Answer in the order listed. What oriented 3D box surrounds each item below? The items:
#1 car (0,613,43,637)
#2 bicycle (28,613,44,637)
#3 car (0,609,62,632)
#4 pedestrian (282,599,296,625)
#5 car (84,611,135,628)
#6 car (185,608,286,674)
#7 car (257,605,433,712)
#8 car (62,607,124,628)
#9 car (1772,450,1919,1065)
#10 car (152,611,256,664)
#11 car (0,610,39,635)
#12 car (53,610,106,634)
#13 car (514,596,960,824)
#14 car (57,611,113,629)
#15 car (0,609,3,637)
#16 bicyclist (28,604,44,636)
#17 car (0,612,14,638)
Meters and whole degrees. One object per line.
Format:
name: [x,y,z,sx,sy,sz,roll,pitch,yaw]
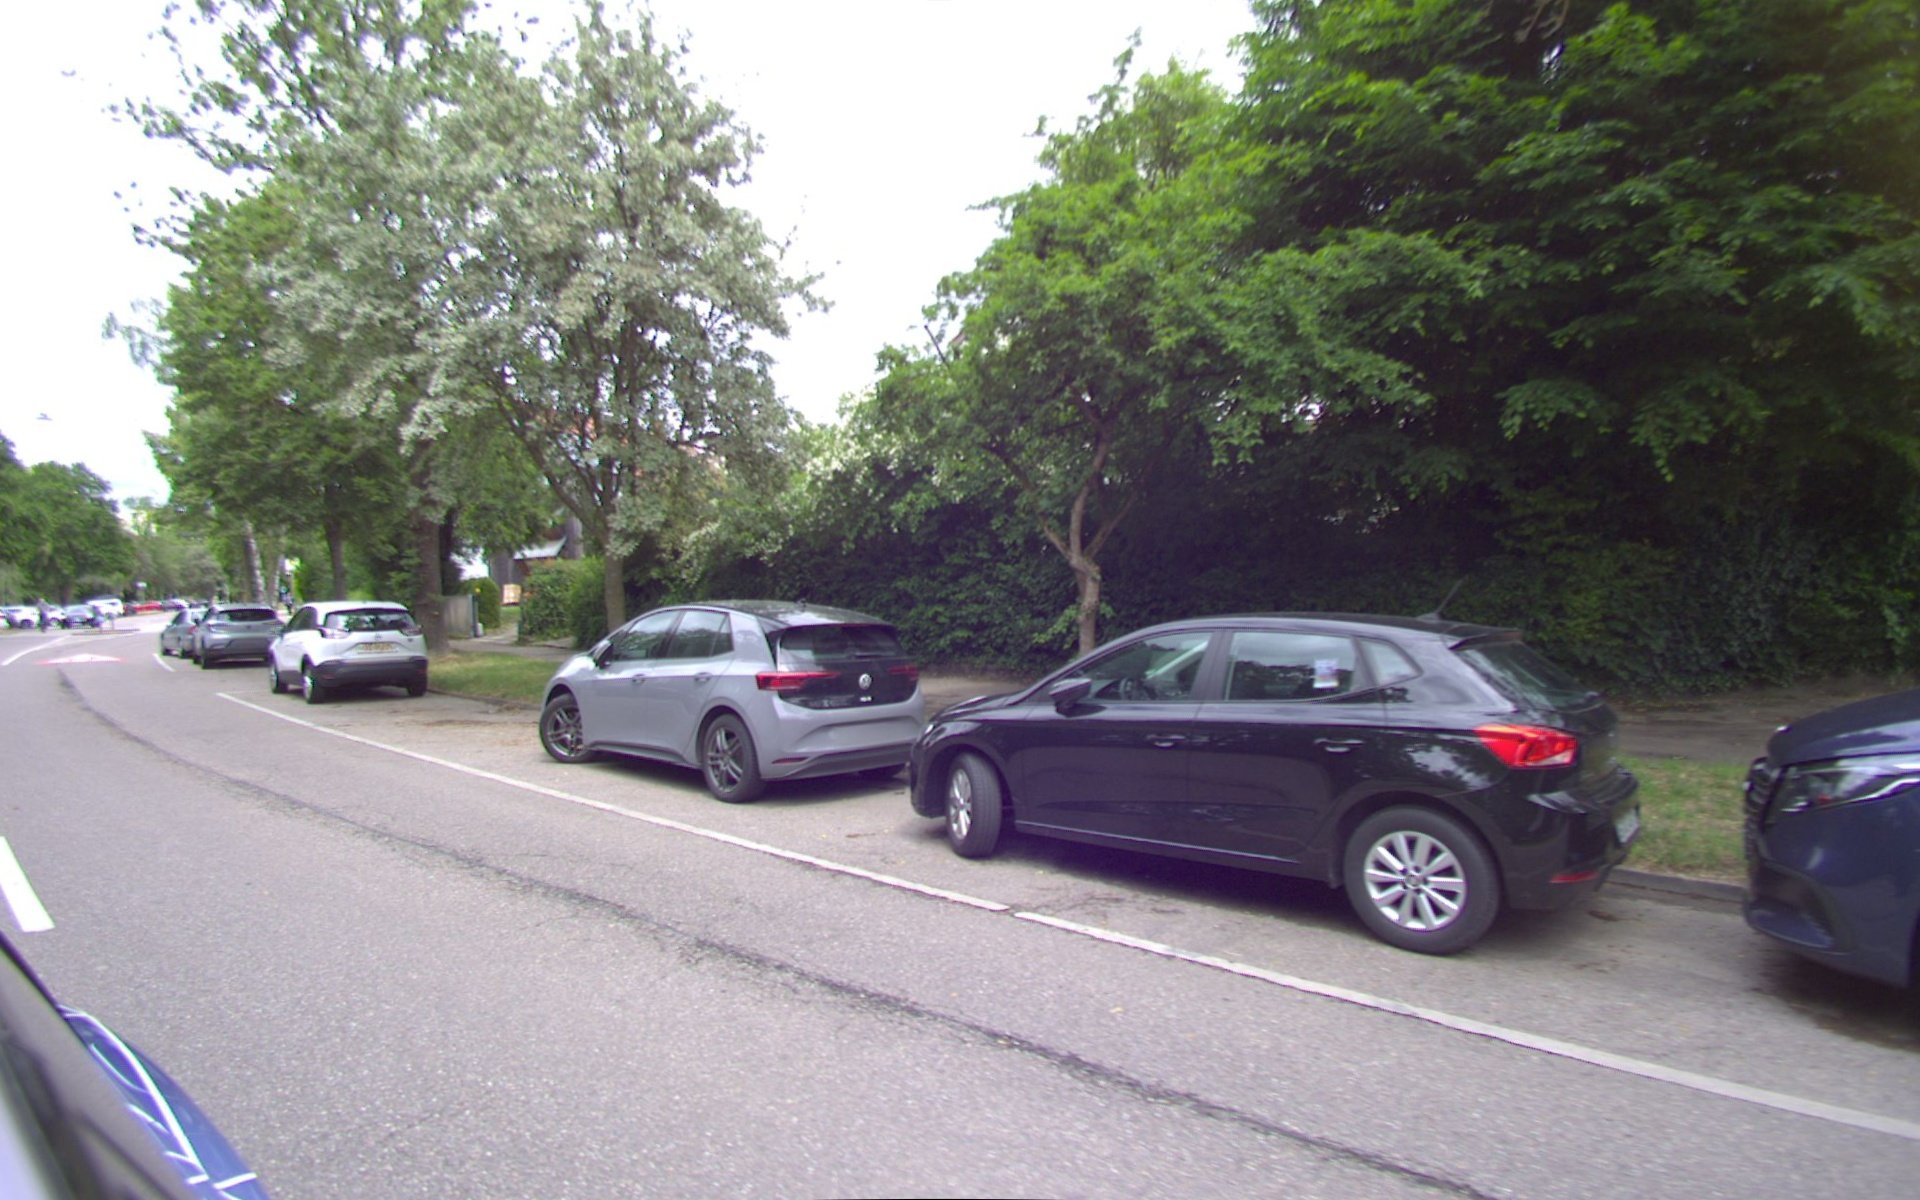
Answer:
car: [-65.314,1.737,68.837,1.791,1.475,3.956,-1,2,33]
bicycle: [-51.473,1.378,56.382,0.638,1.246,1.879,-2,1,-42]
car: [-68.122,1.508,73.422,1.840,1.475,3.966,-2,2,25]
pedestrian: [-45.545,0.785,68.687,0.683,1.723,0.779,-2,1,-41]
car: [-87.186,1.972,103.739,1.656,1.445,3.803,-1,2,44]
car: [-18.562,0.986,25.856,1.714,1.549,4.195,0,0,-41]
car: [-10.589,0.902,17.300,1.715,1.590,4.144,0,0,-44]
car: [-84.533,1.671,98.677,1.854,1.771,4.175,-1,2,34]
car: [5.240,0.456,2.415,5.080,1.923,1.839,-1,0,41]
car: [-22.480,1.060,30.046,4.472,1.427,1.716,-1,0,43]
car: [-63.652,1.547,66.710,1.861,1.475,3.956,-1,2,33]
car: [-56.346,1.398,64.855,1.831,1.384,4.088,-2,1,-31]
car: [-2.178,0.780,9.107,4.227,1.549,1.846,-1,0,43]
car: [-82.926,1.915,95.948,1.716,1.449,3.803,-1,2,44]
car: [-56.260,1.428,56.244,4.417,1.597,1.908,-4,3,-44]
bicyclist: [-51.418,1.103,56.324,0.638,1.792,0.629,-1,1,-43]
car: [-57.176,1.547,57.960,1.796,1.475,4.093,-1,2,39]
